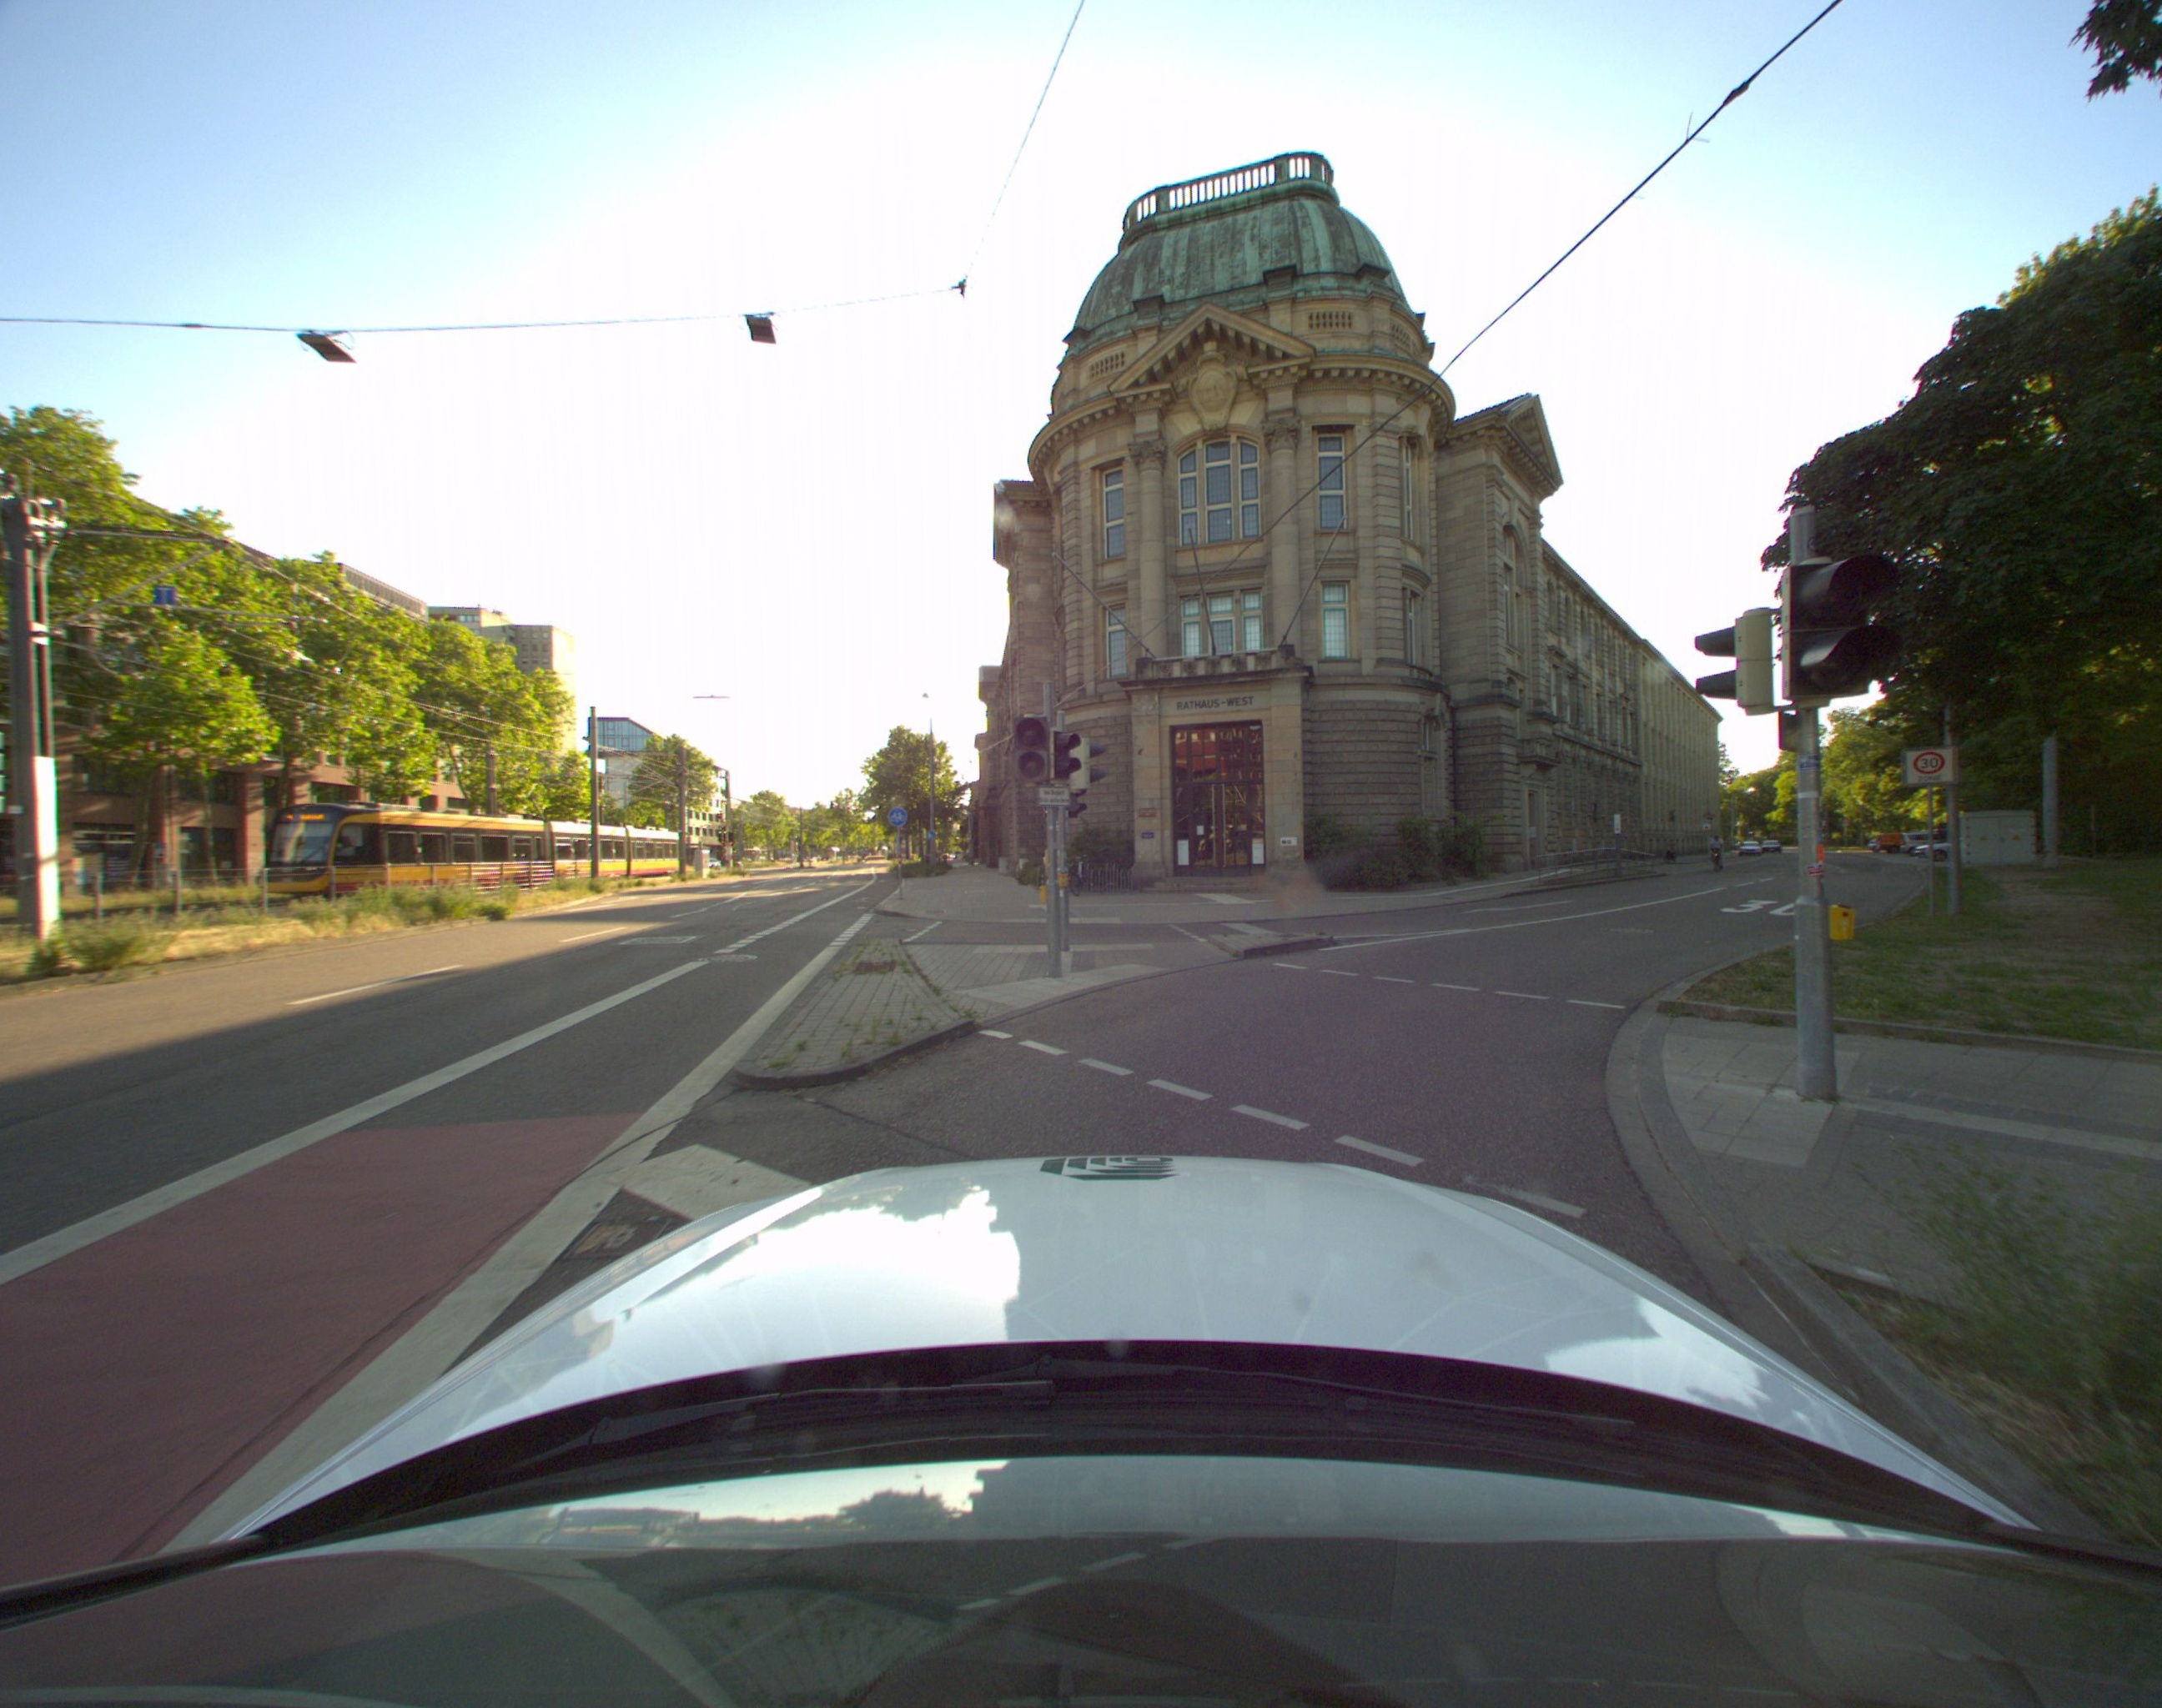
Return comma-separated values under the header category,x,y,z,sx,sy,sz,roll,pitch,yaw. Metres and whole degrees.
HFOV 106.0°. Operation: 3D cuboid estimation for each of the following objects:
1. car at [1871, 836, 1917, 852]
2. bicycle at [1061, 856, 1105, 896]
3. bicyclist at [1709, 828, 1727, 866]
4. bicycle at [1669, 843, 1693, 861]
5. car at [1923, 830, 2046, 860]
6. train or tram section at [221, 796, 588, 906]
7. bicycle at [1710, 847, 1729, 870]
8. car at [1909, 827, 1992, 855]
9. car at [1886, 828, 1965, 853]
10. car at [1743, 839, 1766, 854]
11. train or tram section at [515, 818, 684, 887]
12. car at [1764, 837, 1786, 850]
category,x,y,z,sx,sy,sz,roll,pitch,yaw
car,84.881,-1.042,85.088,3.113,1.503,1.550,-3,-2,37
bicycle,0.099,0.680,26.024,0.860,1.196,2.248,-1,0,14
bicyclist,31.293,-0.344,39.987,0.639,1.807,0.785,-2,-1,37
bicycle,37.356,-0.118,50.720,1.993,1.101,0.845,-1,2,-43
car,50.355,-0.476,45.526,4.399,1.469,1.793,-3,-1,43
train or tram section,-27.559,-0.098,35.568,3.108,3.559,17.439,-1,0,-6
bicycle,31.464,0.221,40.159,0.656,1.070,2.167,-2,-1,37
car,65.867,-0.955,61.796,4.189,1.860,2.012,-3,-2,44
car,78.757,-1.240,76.060,4.771,2.014,1.813,-3,-2,37
car,67.852,-0.743,81.991,1.711,1.397,4.400,-1,0,40
train or tram section,-30.281,-0.048,52.972,3.114,3.559,19.851,-1,0,-12
car,80.317,-1.222,94.289,1.860,1.466,4.400,-1,0,40
